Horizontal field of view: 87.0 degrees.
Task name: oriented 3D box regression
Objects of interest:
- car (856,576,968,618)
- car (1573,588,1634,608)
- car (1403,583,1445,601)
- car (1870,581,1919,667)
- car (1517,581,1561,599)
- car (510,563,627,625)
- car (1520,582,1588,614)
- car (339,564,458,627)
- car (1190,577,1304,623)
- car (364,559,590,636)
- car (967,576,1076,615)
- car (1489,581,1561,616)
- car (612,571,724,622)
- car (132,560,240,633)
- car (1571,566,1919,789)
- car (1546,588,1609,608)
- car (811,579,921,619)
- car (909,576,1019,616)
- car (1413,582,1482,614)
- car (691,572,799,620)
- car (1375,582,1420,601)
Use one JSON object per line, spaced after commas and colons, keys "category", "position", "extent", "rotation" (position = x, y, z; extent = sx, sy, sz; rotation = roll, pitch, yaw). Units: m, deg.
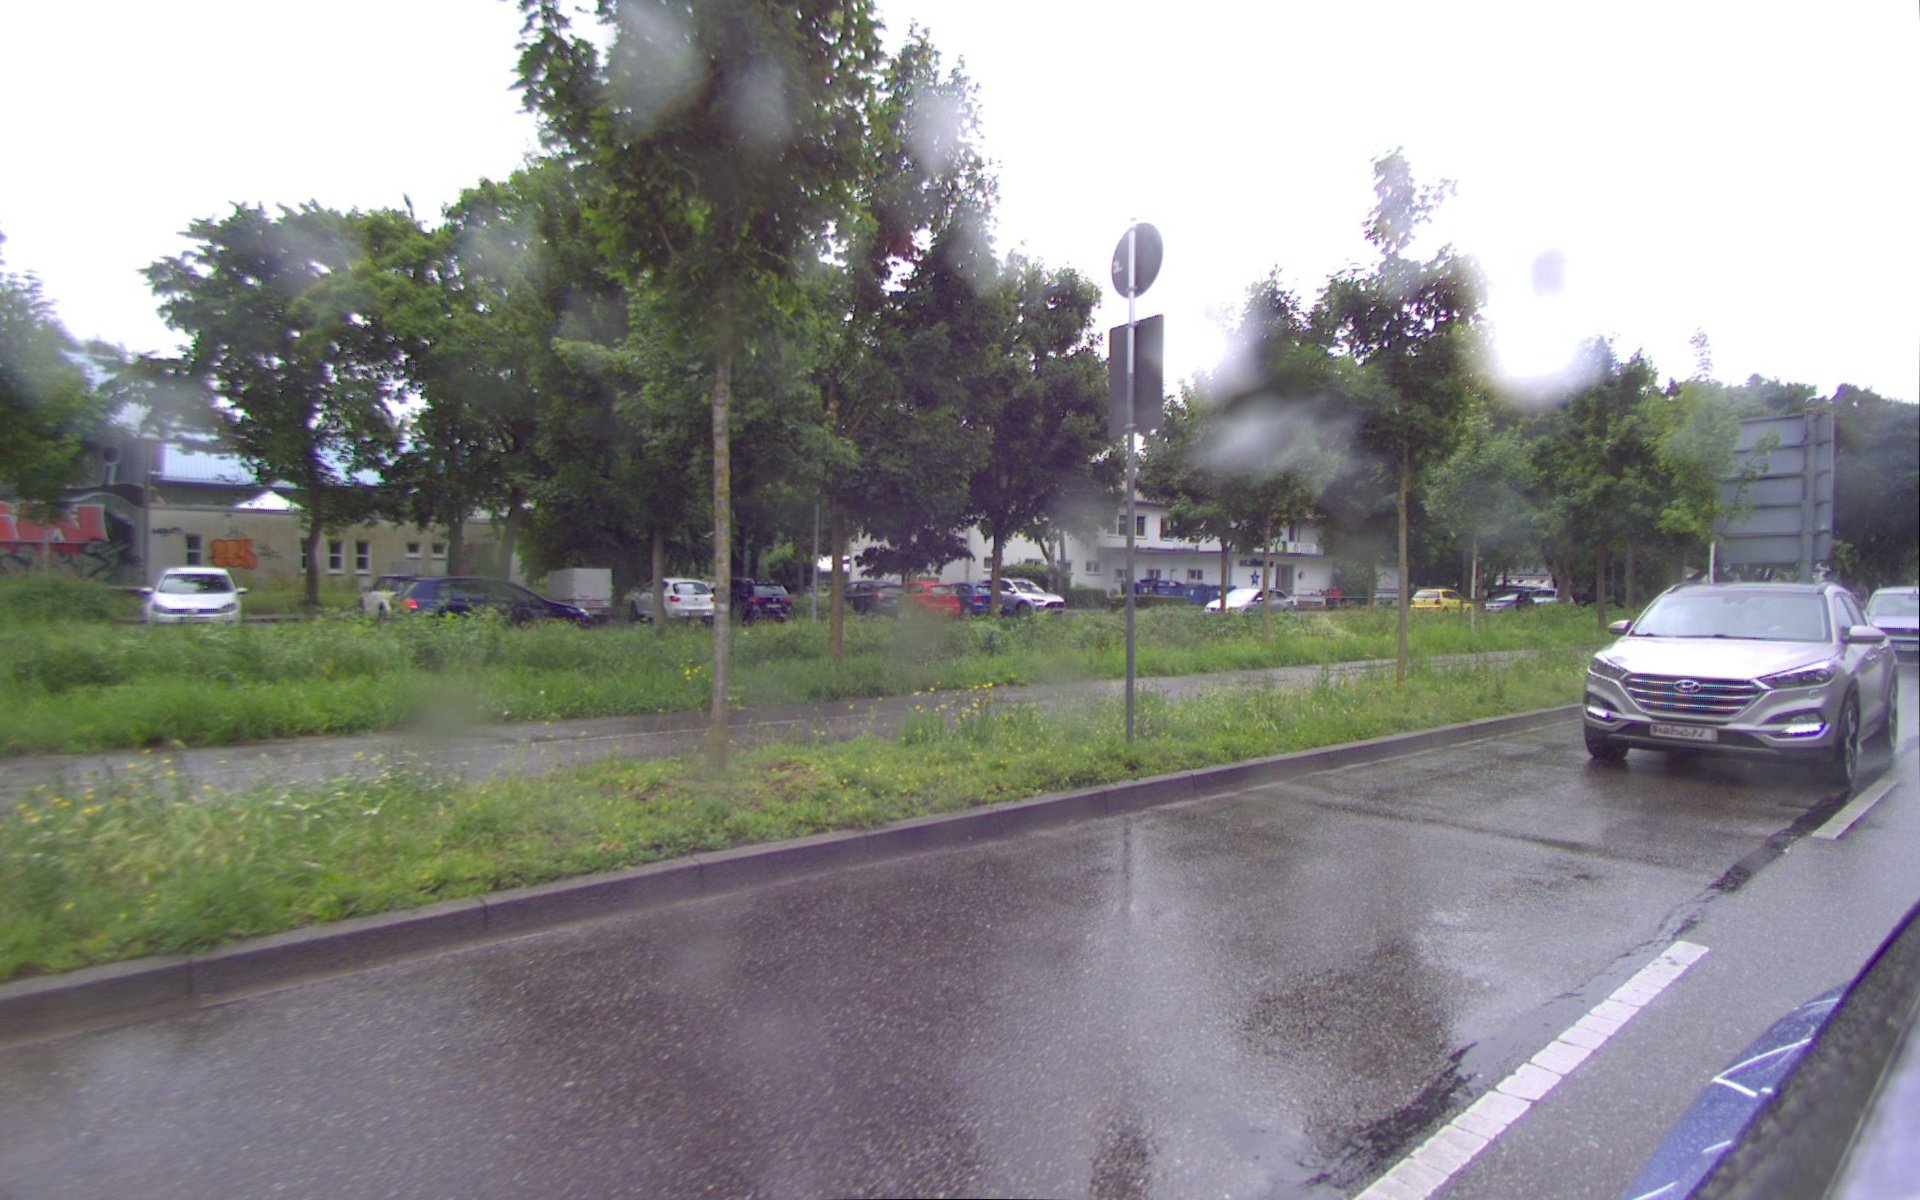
{"category": "car", "position": [-1.882, -0.115, 38.562], "extent": [1.912, 1.503, 4.339], "rotation": [-1, 0, -42]}
{"category": "car", "position": [46.174, -0.158, 72.662], "extent": [3.329, 1.369, 1.523], "rotation": [-1, 0, 5]}
{"category": "car", "position": [34.360, -0.606, 74.944], "extent": [3.639, 1.332, 1.574], "rotation": [-1, 0, -43]}
{"category": "car", "position": [22.136, 0.488, 22.718], "extent": [4.482, 1.818, 1.997], "rotation": [0, 0, -41]}
{"category": "car", "position": [66.639, -1.156, 116.624], "extent": [1.885, 1.989, 4.203], "rotation": [-1, 0, -18]}
{"category": "car", "position": [-12.016, -0.166, 30.914], "extent": [1.912, 1.746, 4.339], "rotation": [-1, 0, -42]}
{"category": "car", "position": [34.167, -0.144, 58.199], "extent": [4.795, 1.738, 1.997], "rotation": [-1, 2, -42]}
{"category": "car", "position": [-15.453, -0.112, 27.760], "extent": [1.912, 1.577, 4.339], "rotation": [-1, 0, -42]}
{"category": "car", "position": [11.177, -0.048, 39.260], "extent": [4.559, 1.645, 1.998], "rotation": [-1, 2, -40]}
{"category": "car", "position": [-10.251, -0.042, 21.601], "extent": [4.045, 1.463, 1.750], "rotation": [2, 1, -37]}
{"category": "car", "position": [2.436, -0.170, 40.873], "extent": [1.891, 1.522, 4.339], "rotation": [-1, 0, -42]}
{"category": "car", "position": [30.196, -0.094, 54.051], "extent": [4.562, 1.738, 1.997], "rotation": [-1, 2, -42]}
{"category": "car", "position": [-9.290, -0.110, 32.043], "extent": [1.731, 1.503, 4.193], "rotation": [-1, 0, -42]}
{"category": "car", "position": [-18.445, -0.068, 24.274], "extent": [1.909, 1.577, 4.583], "rotation": [-1, 0, -36]}
{"category": "car", "position": [7.487, 0.522, 9.480], "extent": [4.123, 1.630, 1.887], "rotation": [-1, 2, -42]}
{"category": "car", "position": [46.254, -0.168, 75.811], "extent": [3.680, 1.467, 1.670], "rotation": [-1, 0, 0]}
{"category": "car", "position": [-3.449, -0.040, 36.719], "extent": [1.836, 1.357, 4.184], "rotation": [-1, 0, -42]}
{"category": "car", "position": [0.097, -0.141, 39.879], "extent": [1.912, 1.503, 4.339], "rotation": [-1, 0, -42]}
{"category": "car", "position": [23.795, -0.118, 49.363], "extent": [4.003, 1.505, 1.639], "rotation": [-1, 0, -42]}
{"category": "car", "position": [-7.162, -0.122, 33.433], "extent": [1.758, 1.478, 4.138], "rotation": [-1, 0, -40]}
{"category": "car", "position": [33.055, -0.654, 76.442], "extent": [3.932, 1.403, 1.585], "rotation": [-1, 0, -42]}
